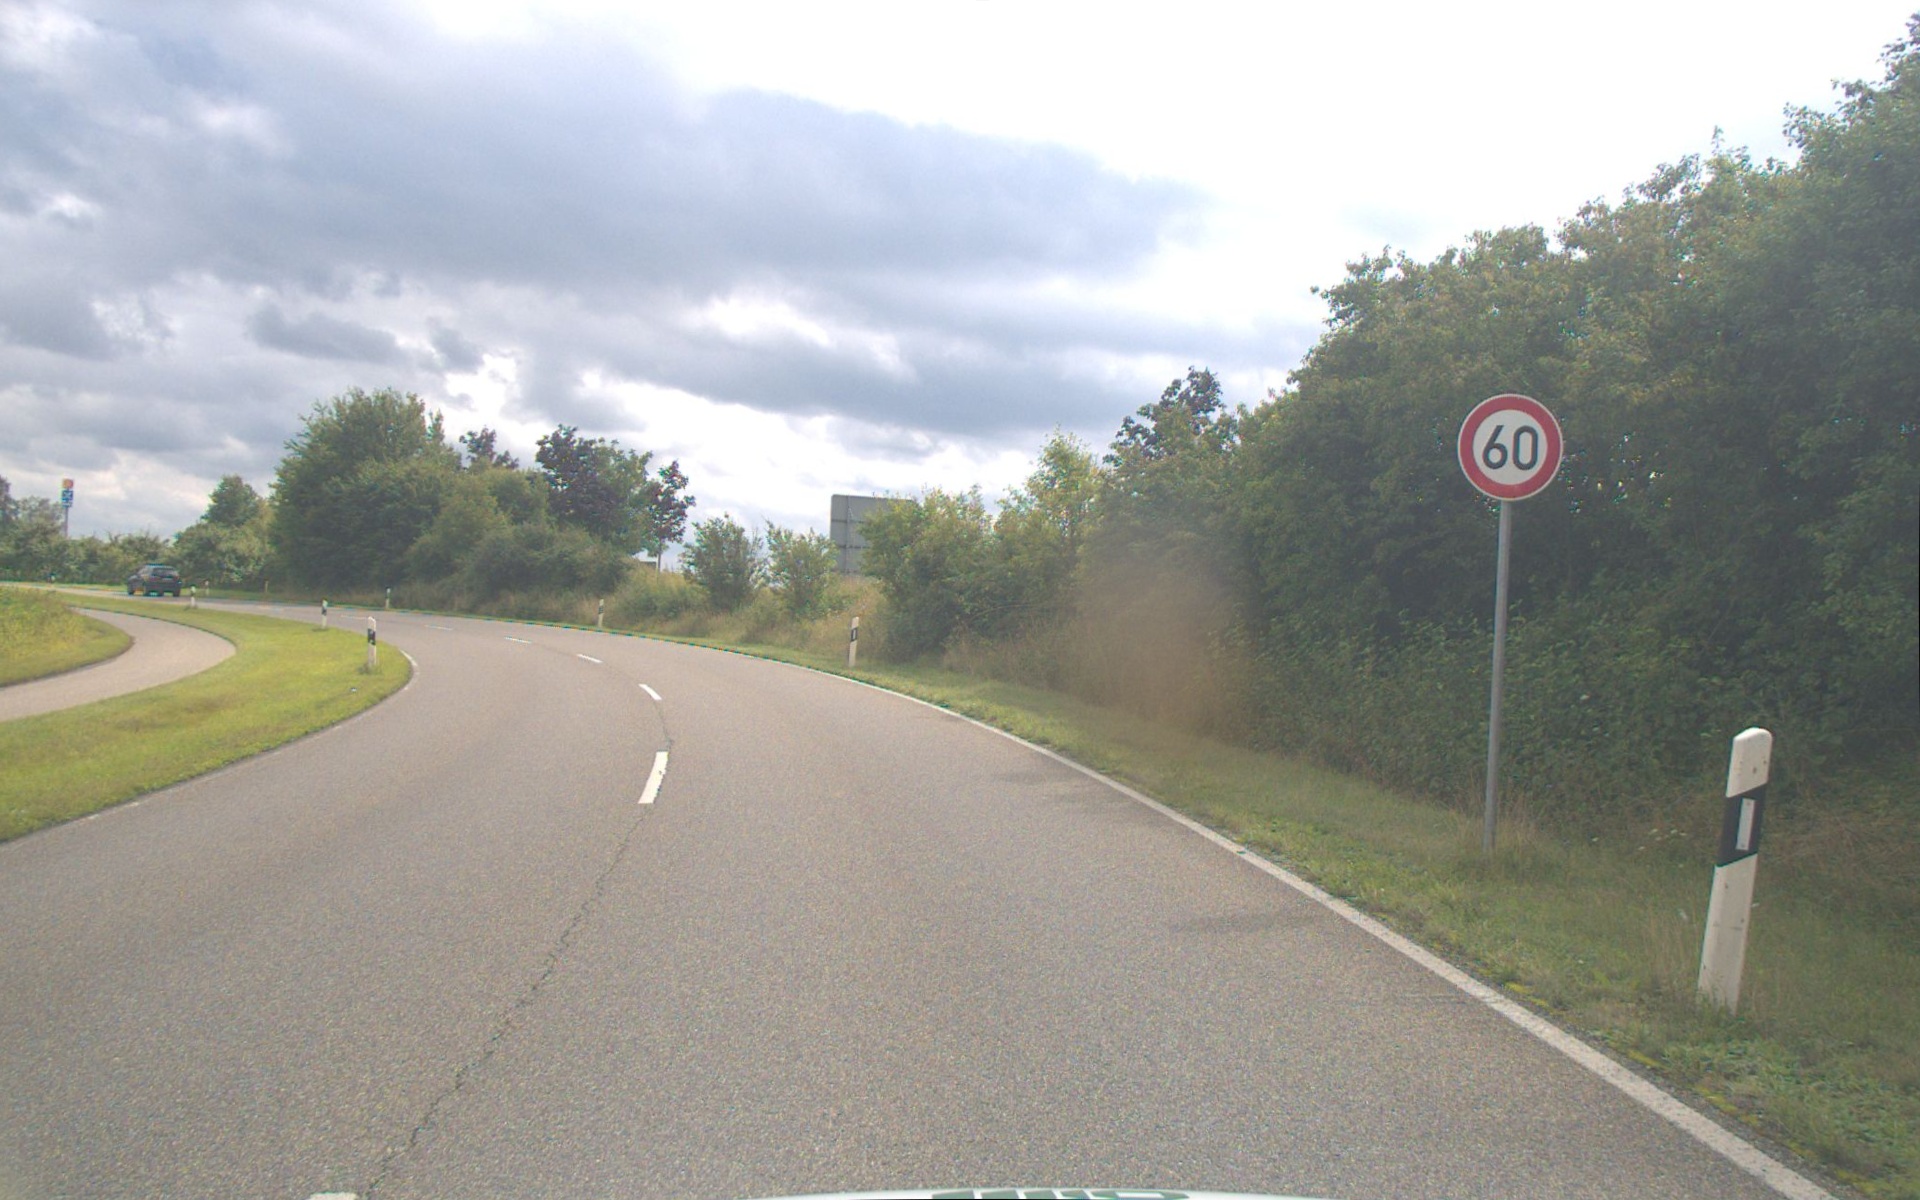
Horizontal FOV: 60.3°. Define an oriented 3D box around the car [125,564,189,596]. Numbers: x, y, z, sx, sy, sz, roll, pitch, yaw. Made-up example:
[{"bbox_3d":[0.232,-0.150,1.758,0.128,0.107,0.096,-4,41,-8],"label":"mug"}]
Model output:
[{"bbox_3d":[-45.135,-1.107,92.979,3.929,1.695,1.901,2,0,42],"label":"car"}]
